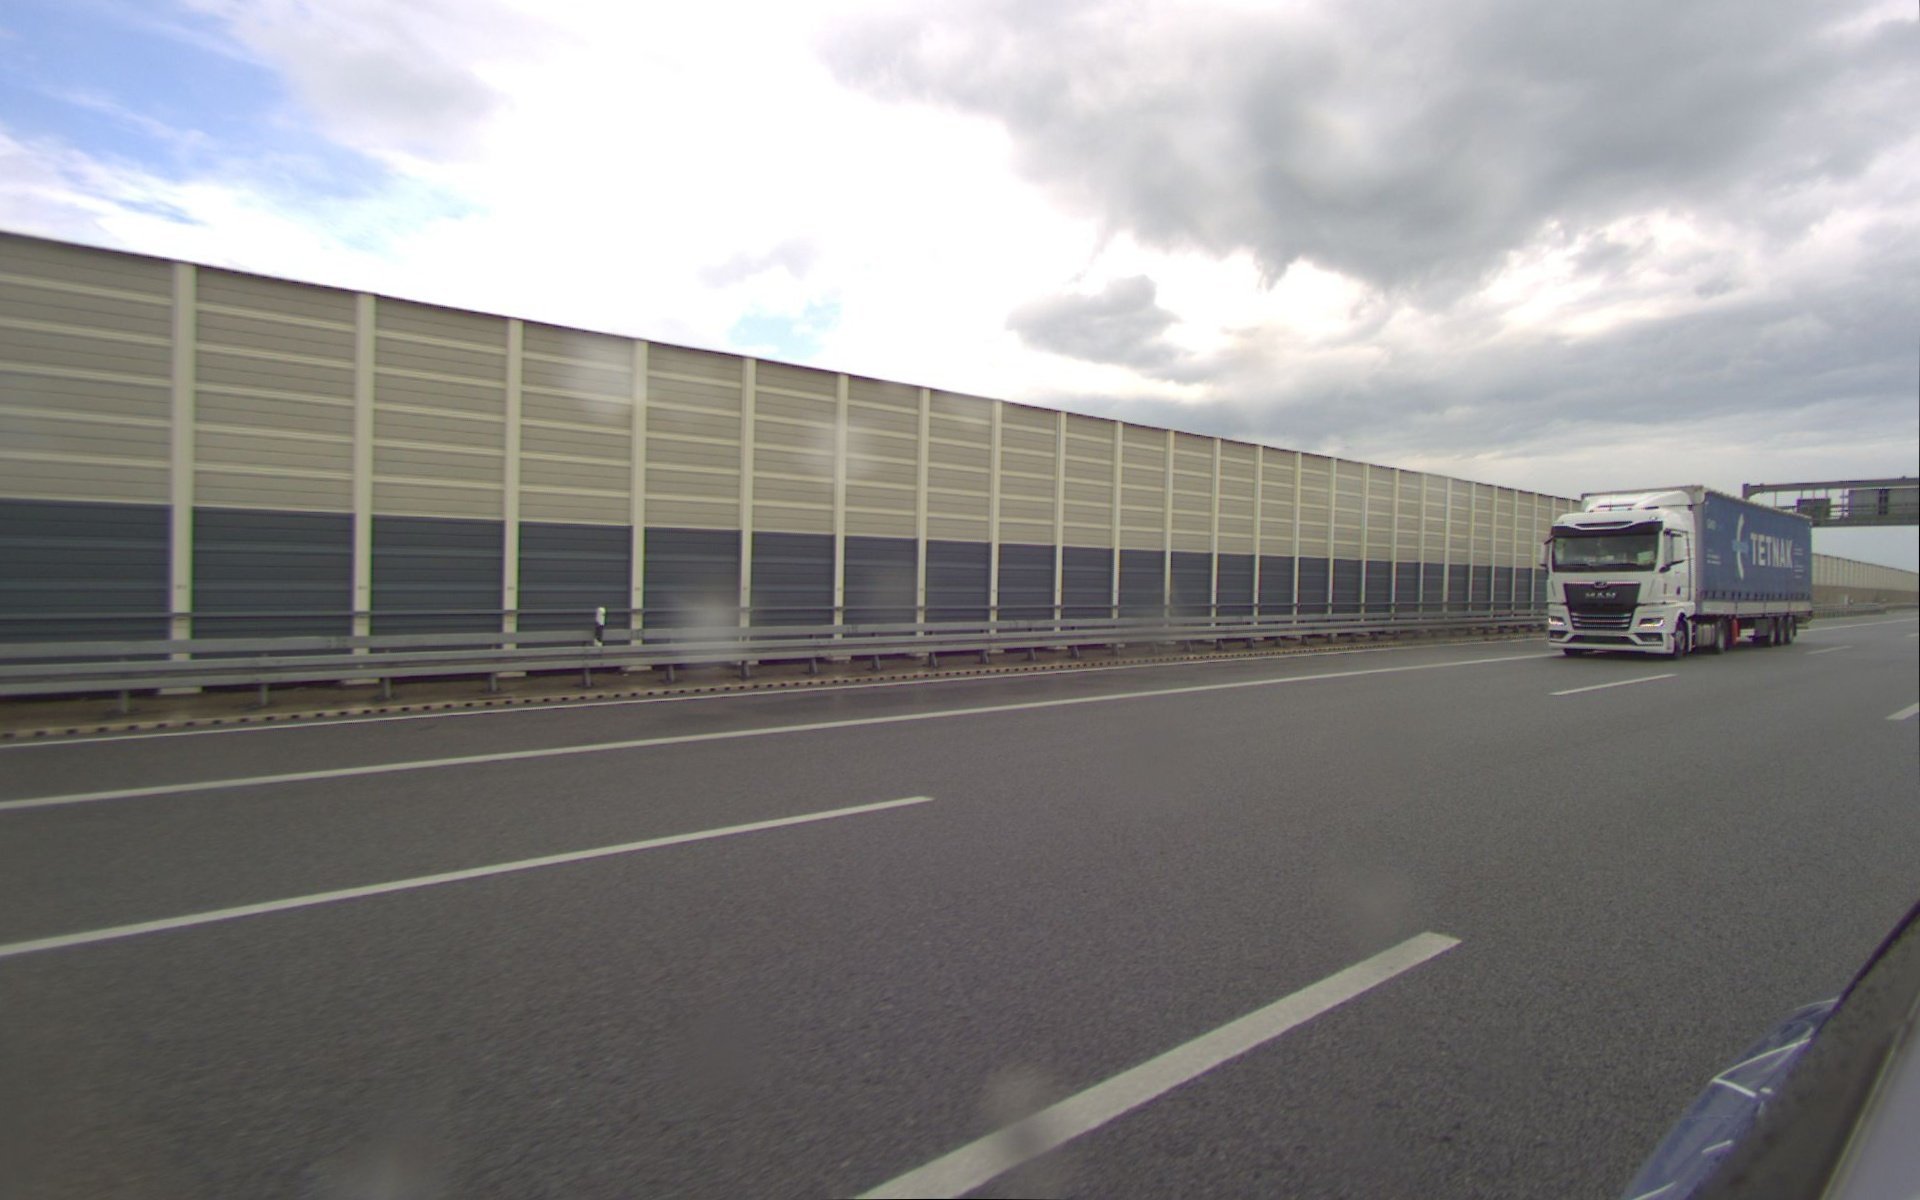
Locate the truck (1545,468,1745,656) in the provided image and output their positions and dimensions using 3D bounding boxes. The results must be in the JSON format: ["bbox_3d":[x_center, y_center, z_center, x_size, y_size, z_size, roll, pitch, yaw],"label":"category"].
[{"bbox_3d":[16.955,-0.844,24.918,5.626,4.086,2.749,0,0,-41],"label":"truck"}]

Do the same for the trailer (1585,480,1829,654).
[{"bbox_3d":[22.259,-0.800,29.575,14.200,4.083,2.766,0,0,-41],"label":"trailer"}]
